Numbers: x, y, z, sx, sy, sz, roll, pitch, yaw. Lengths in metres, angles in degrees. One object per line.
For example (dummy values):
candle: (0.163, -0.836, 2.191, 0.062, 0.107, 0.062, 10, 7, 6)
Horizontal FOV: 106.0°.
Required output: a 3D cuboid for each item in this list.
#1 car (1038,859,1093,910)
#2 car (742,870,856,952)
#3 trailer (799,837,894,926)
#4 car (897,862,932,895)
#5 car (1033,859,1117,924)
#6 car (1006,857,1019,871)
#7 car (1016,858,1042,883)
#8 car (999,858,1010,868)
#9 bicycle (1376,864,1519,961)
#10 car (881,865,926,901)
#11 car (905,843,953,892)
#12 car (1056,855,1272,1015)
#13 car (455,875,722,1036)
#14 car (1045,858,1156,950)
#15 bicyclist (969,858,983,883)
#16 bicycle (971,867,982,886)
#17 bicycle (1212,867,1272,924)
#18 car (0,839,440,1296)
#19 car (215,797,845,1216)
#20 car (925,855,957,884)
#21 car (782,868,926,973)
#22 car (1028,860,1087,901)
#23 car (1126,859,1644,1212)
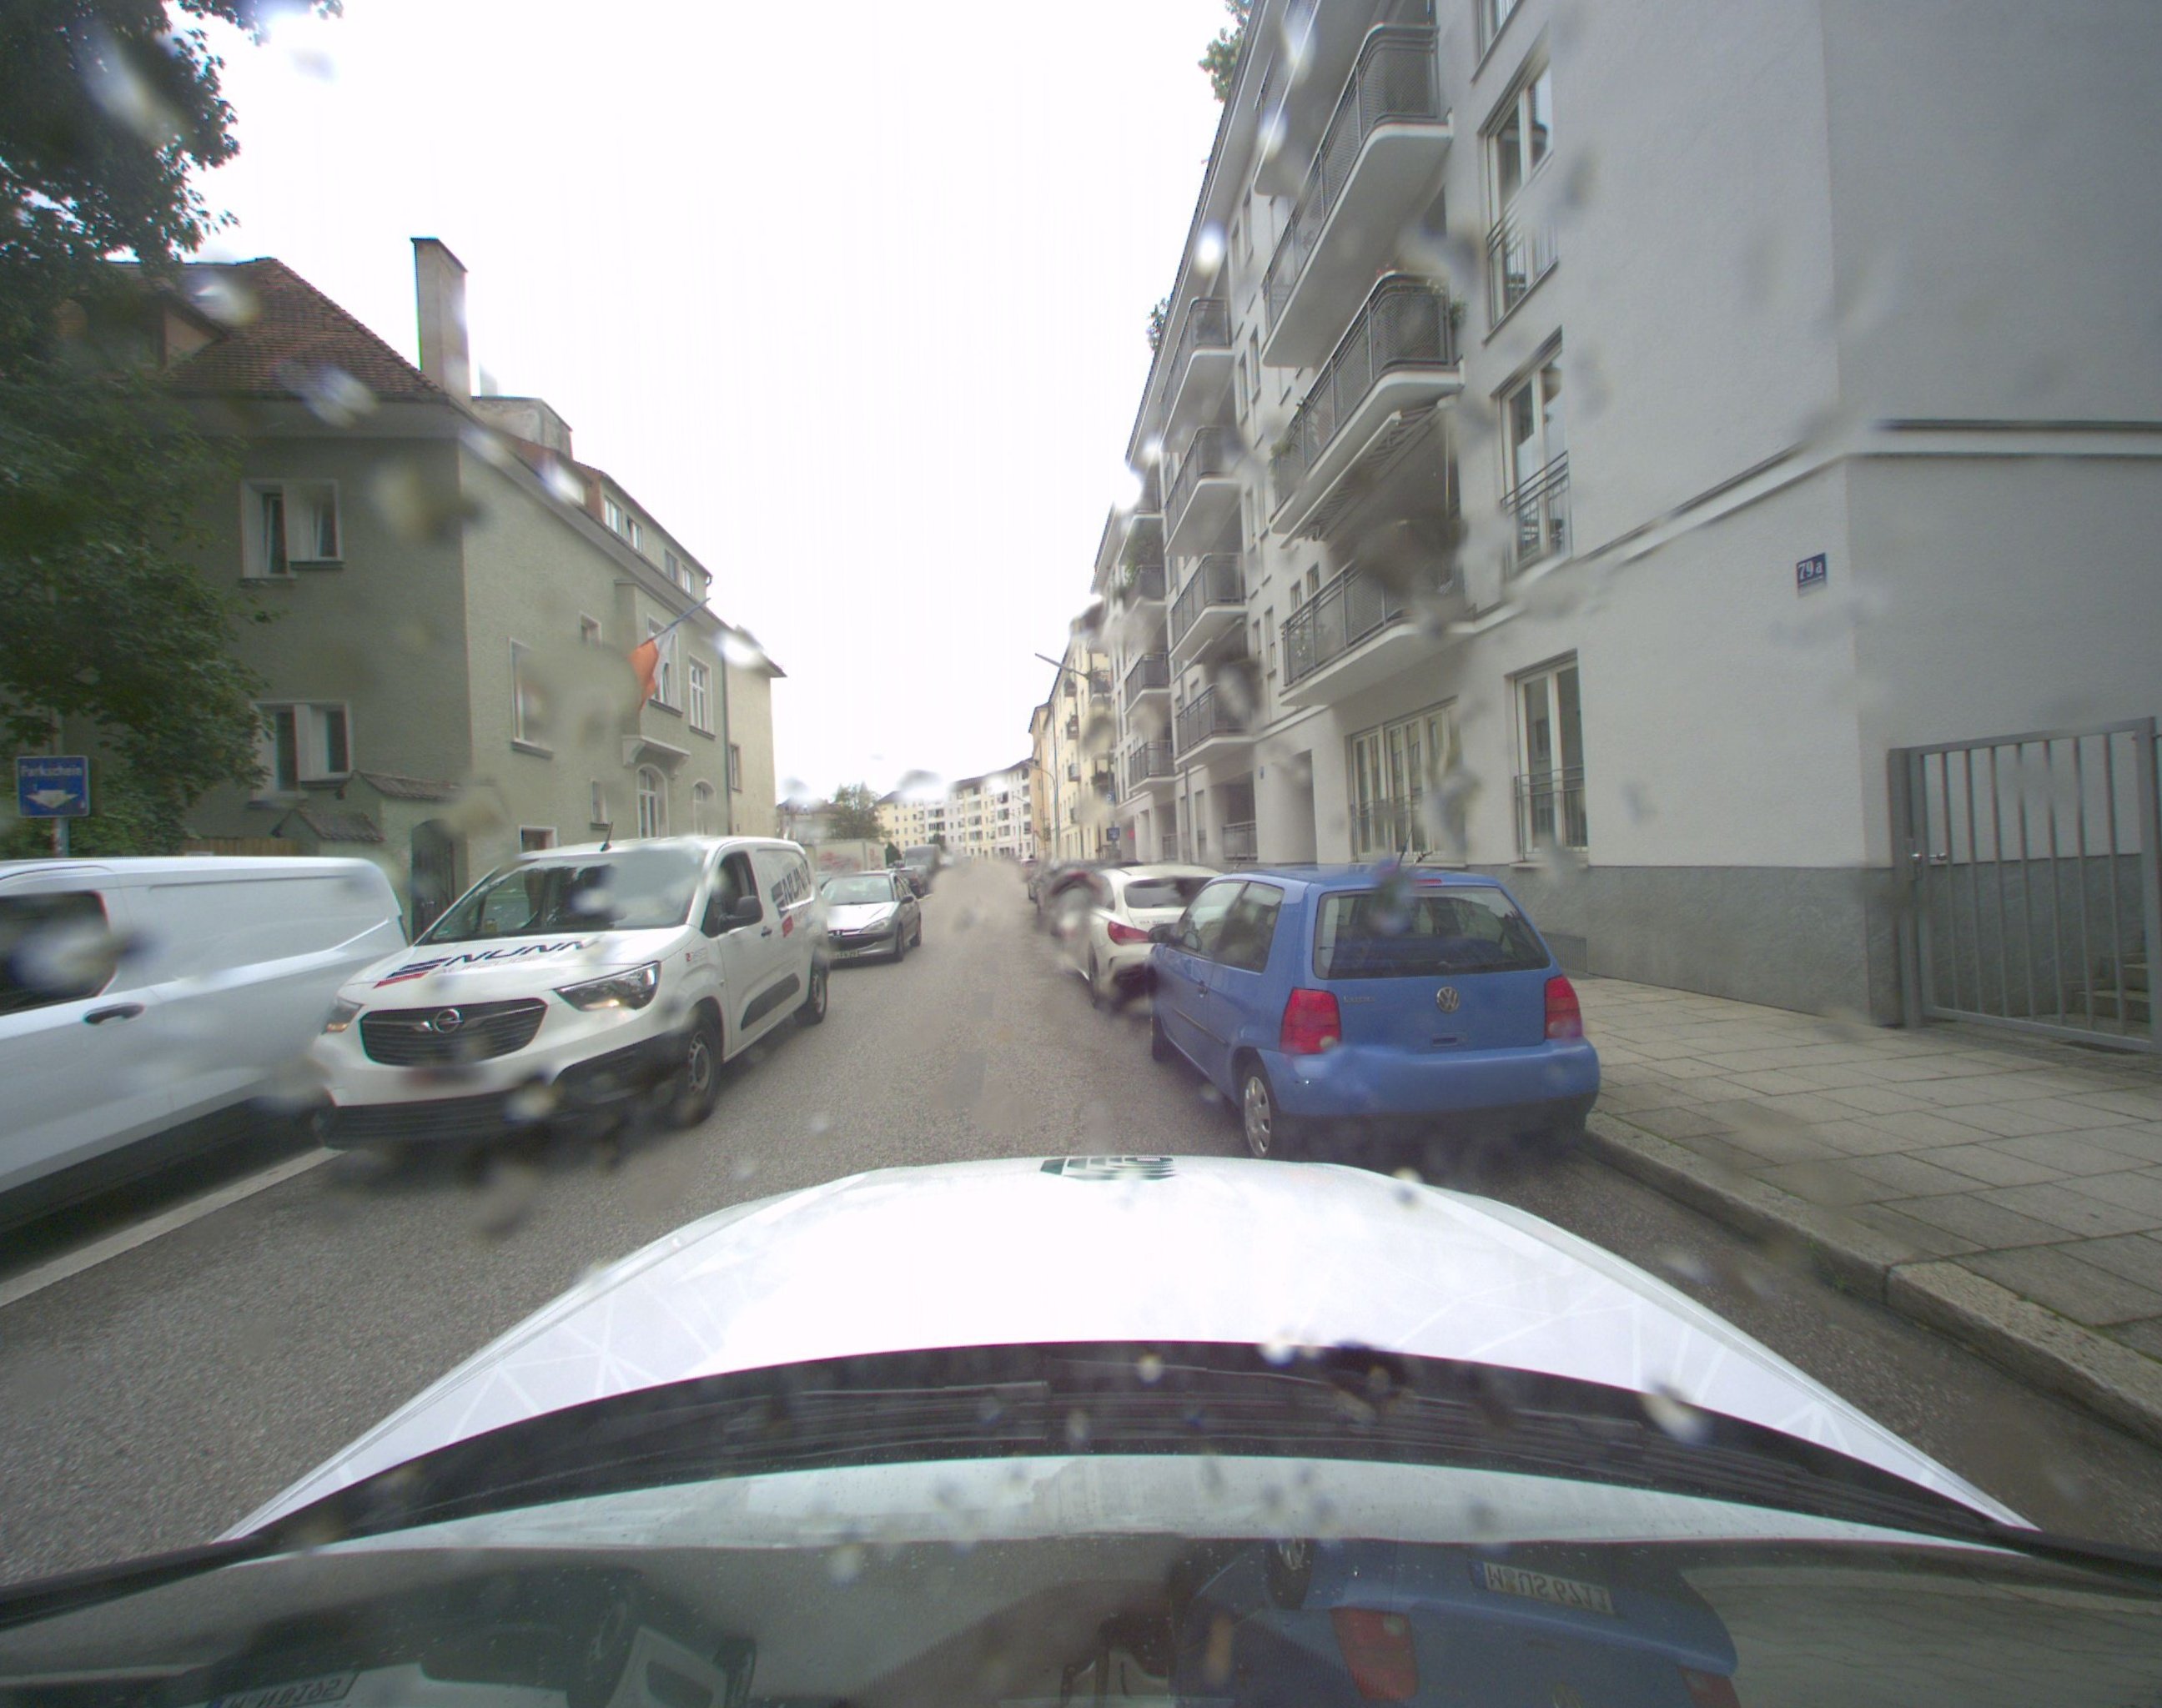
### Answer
car: (-0.577, 0.964, 27.216, 1.518, 1.530, 3.518, -1, 0, -6)
car: (-6.726, 1.287, 19.862, 1.685, 1.603, 3.912, -5, 0, -7)
trailer: (-7.305, 0.793, 25.824, 1.705, 2.461, 4.382, -5, 0, -3)
car: (-8.629, 1.254, 42.364, 1.586, 1.538, 3.531, -4, 0, -10)
car: (-0.278, 0.906, 21.724, 1.732, 1.530, 4.610, 0, 0, -7)
car: (-8.413, 1.207, 99.820, 1.473, 1.641, 3.991, -1, 0, -7)
car: (-3.524, 1.085, 55.007, 1.593, 1.509, 3.793, -3, 0, -5)
car: (-10.424, 1.175, 110.909, 1.271, 1.299, 2.790, -2, 0, -7)
bicycle: (4.339, 0.669, 9.814, 0.676, 1.028, 1.830, -3, -2, -7)
car: (-8.272, 1.321, 38.171, 1.700, 1.445, 3.814, -2, 0, -8)
car: (-8.941, 0.760, 48.261, 2.084, 2.636, 5.368, -3, 0, -4)
car: (0.716, 0.753, 9.589, 1.656, 1.440, 4.196, 0, 0, -7)
car: (-5.756, 1.075, 9.986, 1.472, 1.466, 3.305, -4, 0, -7)
car: (0.254, 0.860, 15.799, 1.602, 1.530, 3.974, 0, 0, -7)
bicyclist: (-6.813, 1.073, 52.787, 0.692, 1.561, 0.965, -4, 0, -3)
bicycle: (-6.790, 1.428, 52.755, 0.503, 1.128, 1.771, -4, 0, -3)
bicycle: (3.572, 0.886, 18.274, 0.627, 1.160, 2.121, -3, 0, -8)
car: (-5.203, 0.904, 3.598, 1.688, 1.803, 4.135, -4, 0, -7)
car: (-3.219, 0.723, 6.096, 1.769, 1.803, 4.564, -4, -1, -5)
car: (-10.390, 1.090, 60.763, 1.880, 1.931, 4.592, -5, 1, -5)
car: (-3.633, 0.995, 13.618, 1.578, 1.411, 3.606, -3, -1, -5)
car: (-0.969, 0.981, 31.331, 1.762, 1.408, 4.066, -2, -1, -8)
car: (1.405, 0.760, 5.176, 1.617, 1.412, 3.544, 0, -1, -7)
